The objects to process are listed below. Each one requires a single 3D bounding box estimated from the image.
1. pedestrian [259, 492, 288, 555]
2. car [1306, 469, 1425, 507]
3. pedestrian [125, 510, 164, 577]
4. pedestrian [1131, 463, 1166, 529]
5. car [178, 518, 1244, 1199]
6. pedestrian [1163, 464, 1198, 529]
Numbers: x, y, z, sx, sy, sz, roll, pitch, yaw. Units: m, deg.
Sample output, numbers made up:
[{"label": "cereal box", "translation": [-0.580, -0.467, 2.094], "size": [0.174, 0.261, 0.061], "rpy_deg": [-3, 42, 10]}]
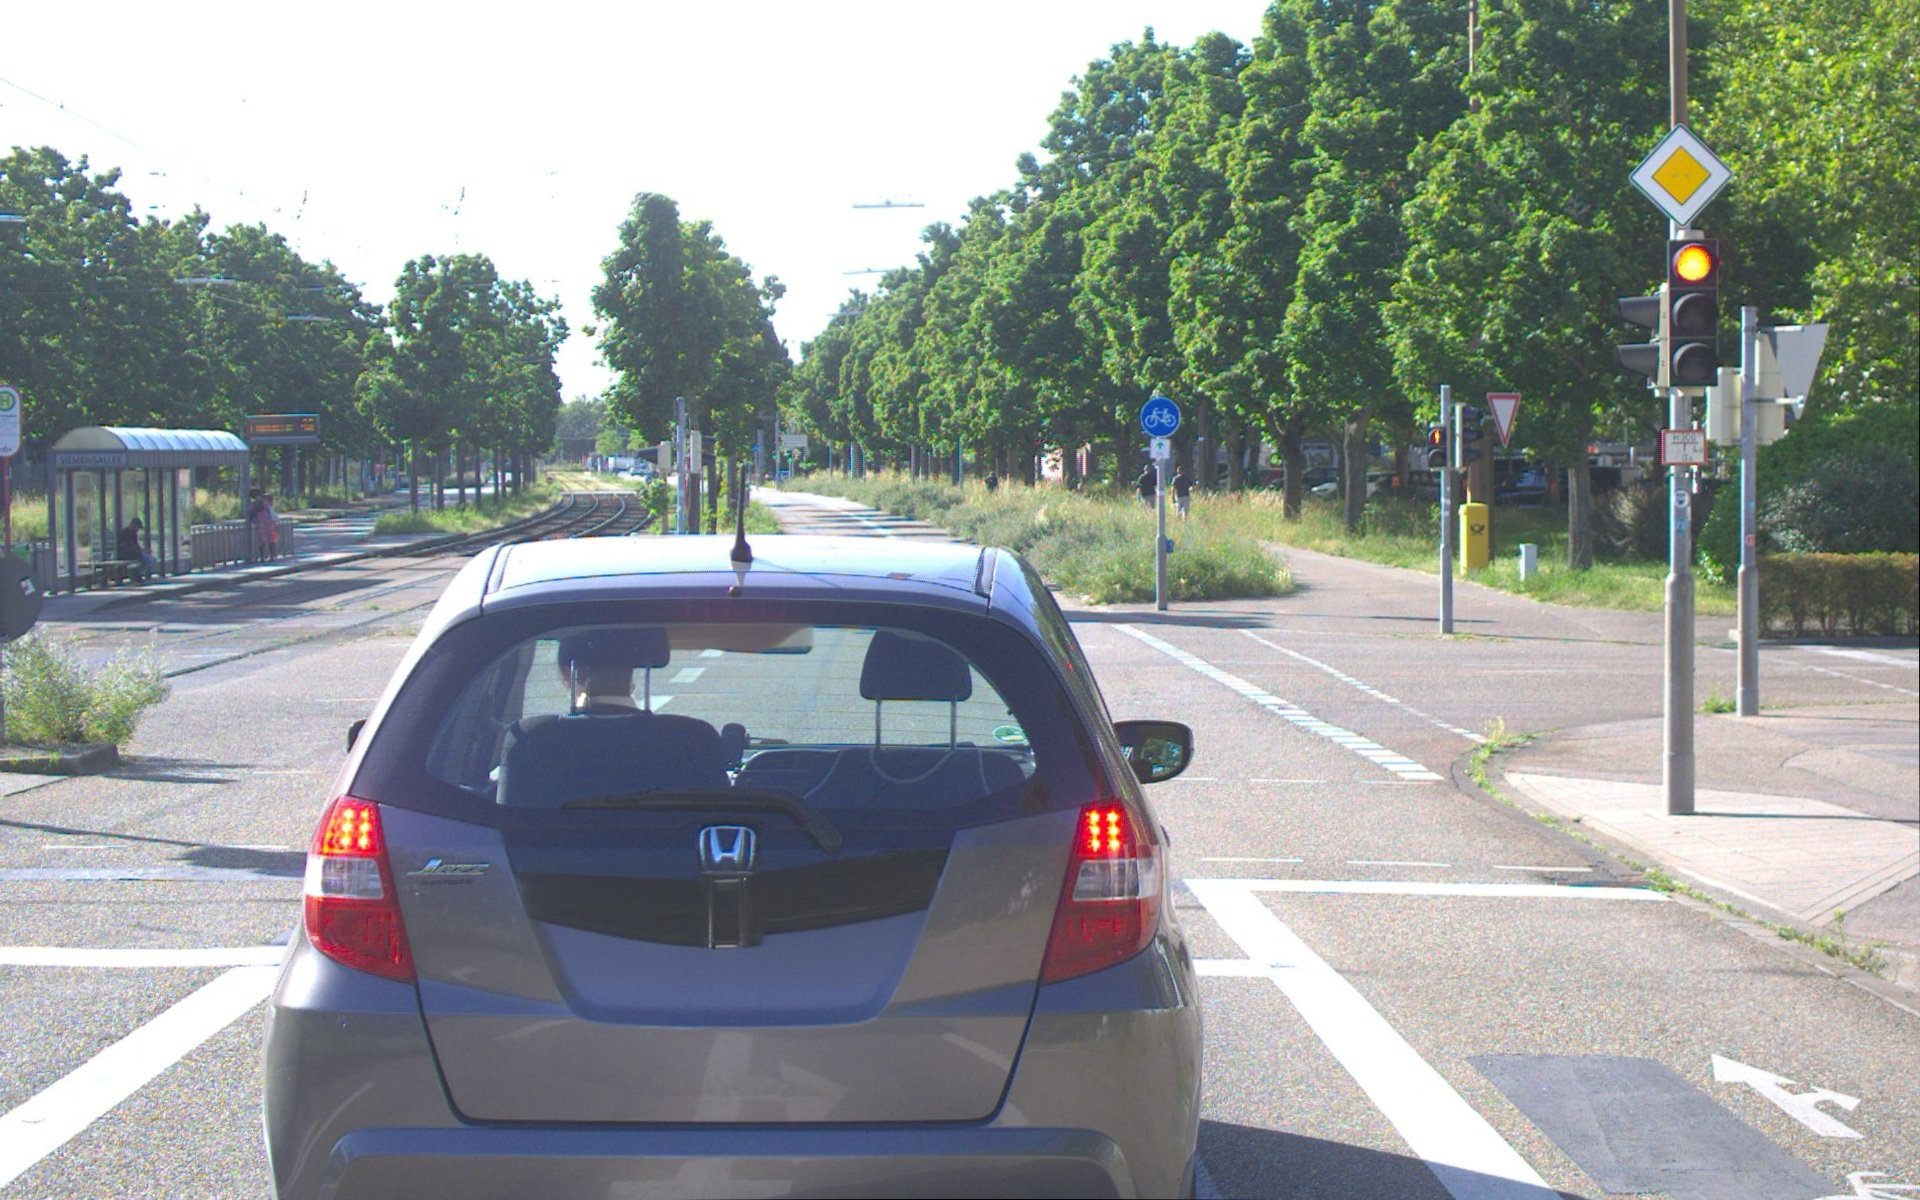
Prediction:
[{"label": "pedestrian", "translation": [-15.998, -1.779, 80.088], "size": [0.544, 1.442, 0.559], "rpy_deg": [-1, 1, -1]}, {"label": "car", "translation": [17.032, -4.708, 144.524], "size": [4.630, 1.550, 2.001], "rpy_deg": [-1, 2, -6]}, {"label": "pedestrian", "translation": [-15.547, -1.085, 65.535], "size": [0.563, 1.252, 0.581], "rpy_deg": [-3, 1, -1]}, {"label": "pedestrian", "translation": [5.456, -3.011, 99.499], "size": [0.882, 1.877, 0.875], "rpy_deg": [-1, 2, -4]}, {"label": "car", "translation": [-0.422, 0.604, 7.368], "size": [1.701, 1.518, 3.710], "rpy_deg": [0, 1, -1]}, {"label": "pedestrian", "translation": [6.390, -3.001, 99.597], "size": [0.882, 1.877, 0.875], "rpy_deg": [-1, 2, -4]}]
